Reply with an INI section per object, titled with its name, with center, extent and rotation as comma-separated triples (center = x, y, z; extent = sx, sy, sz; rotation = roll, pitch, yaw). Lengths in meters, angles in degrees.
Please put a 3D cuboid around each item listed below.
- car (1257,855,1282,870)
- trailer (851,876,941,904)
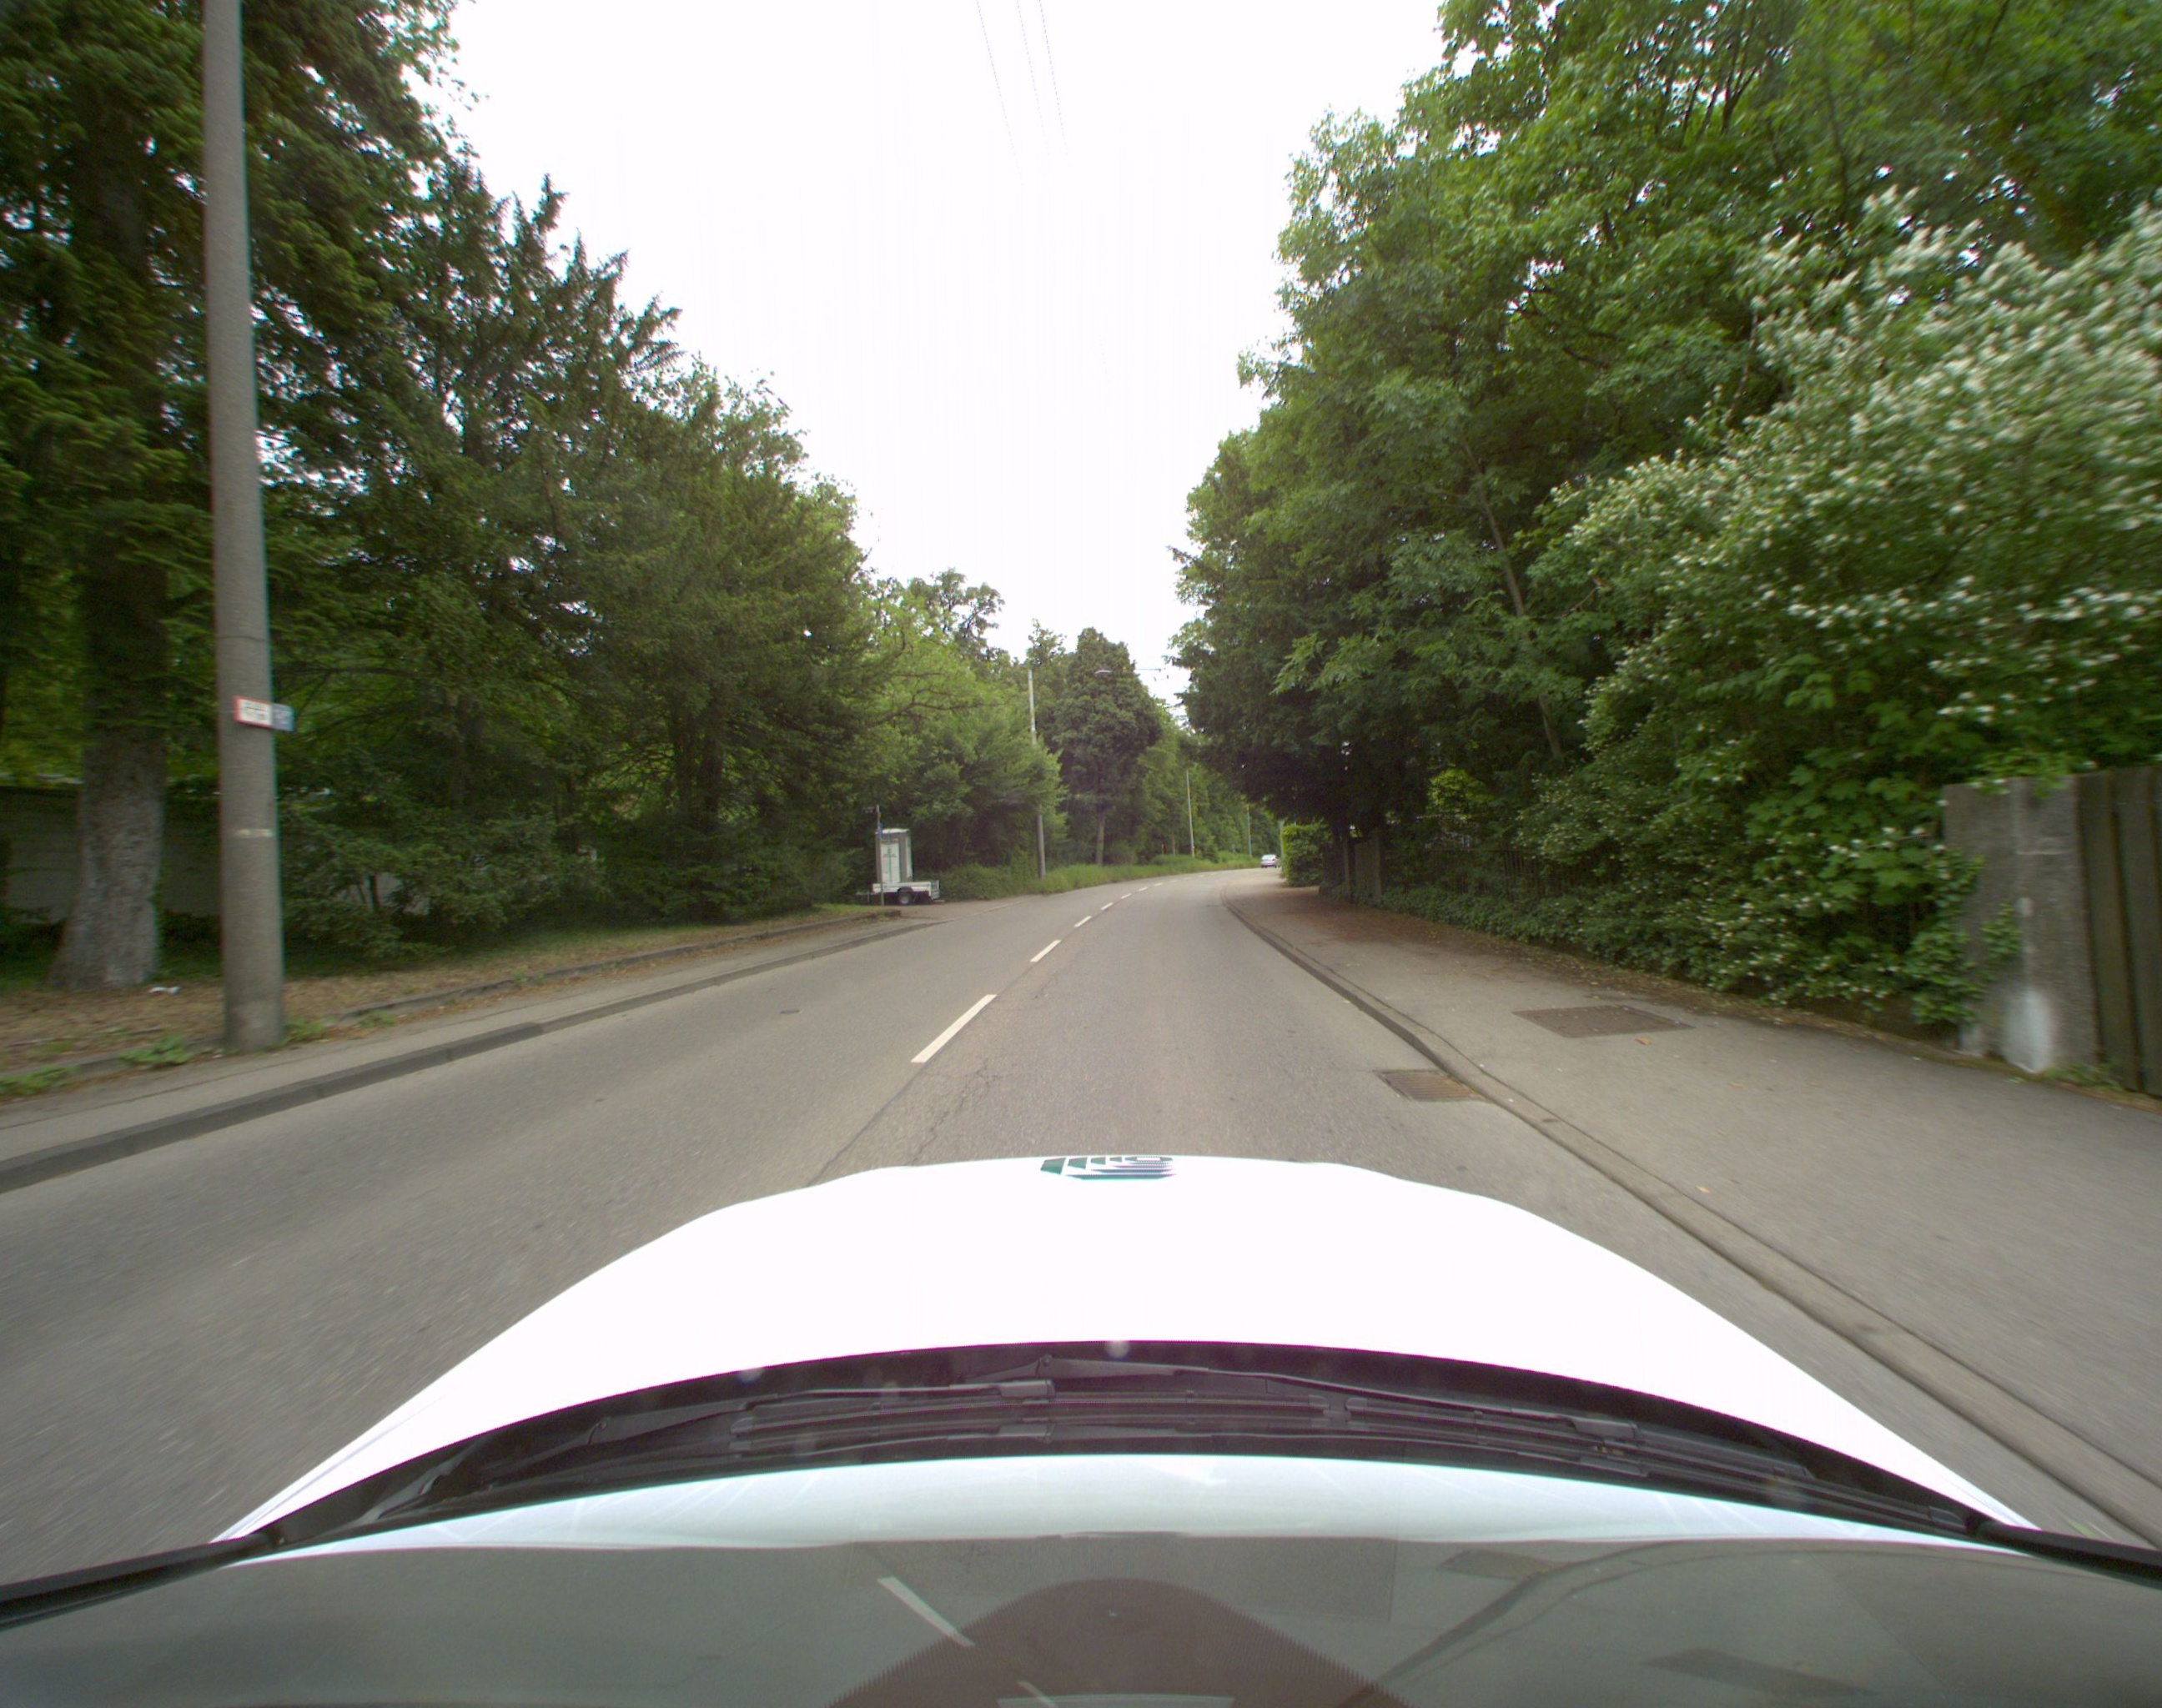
[car]
center = 20.496, 0.925, 88.493
extent = 1.976, 1.486, 4.021
rotation = -3, -1, 21
[trailer]
center = -6.639, 1.276, 29.475
extent = 2.949, 0.828, 1.473
rotation = -3, -1, -5
